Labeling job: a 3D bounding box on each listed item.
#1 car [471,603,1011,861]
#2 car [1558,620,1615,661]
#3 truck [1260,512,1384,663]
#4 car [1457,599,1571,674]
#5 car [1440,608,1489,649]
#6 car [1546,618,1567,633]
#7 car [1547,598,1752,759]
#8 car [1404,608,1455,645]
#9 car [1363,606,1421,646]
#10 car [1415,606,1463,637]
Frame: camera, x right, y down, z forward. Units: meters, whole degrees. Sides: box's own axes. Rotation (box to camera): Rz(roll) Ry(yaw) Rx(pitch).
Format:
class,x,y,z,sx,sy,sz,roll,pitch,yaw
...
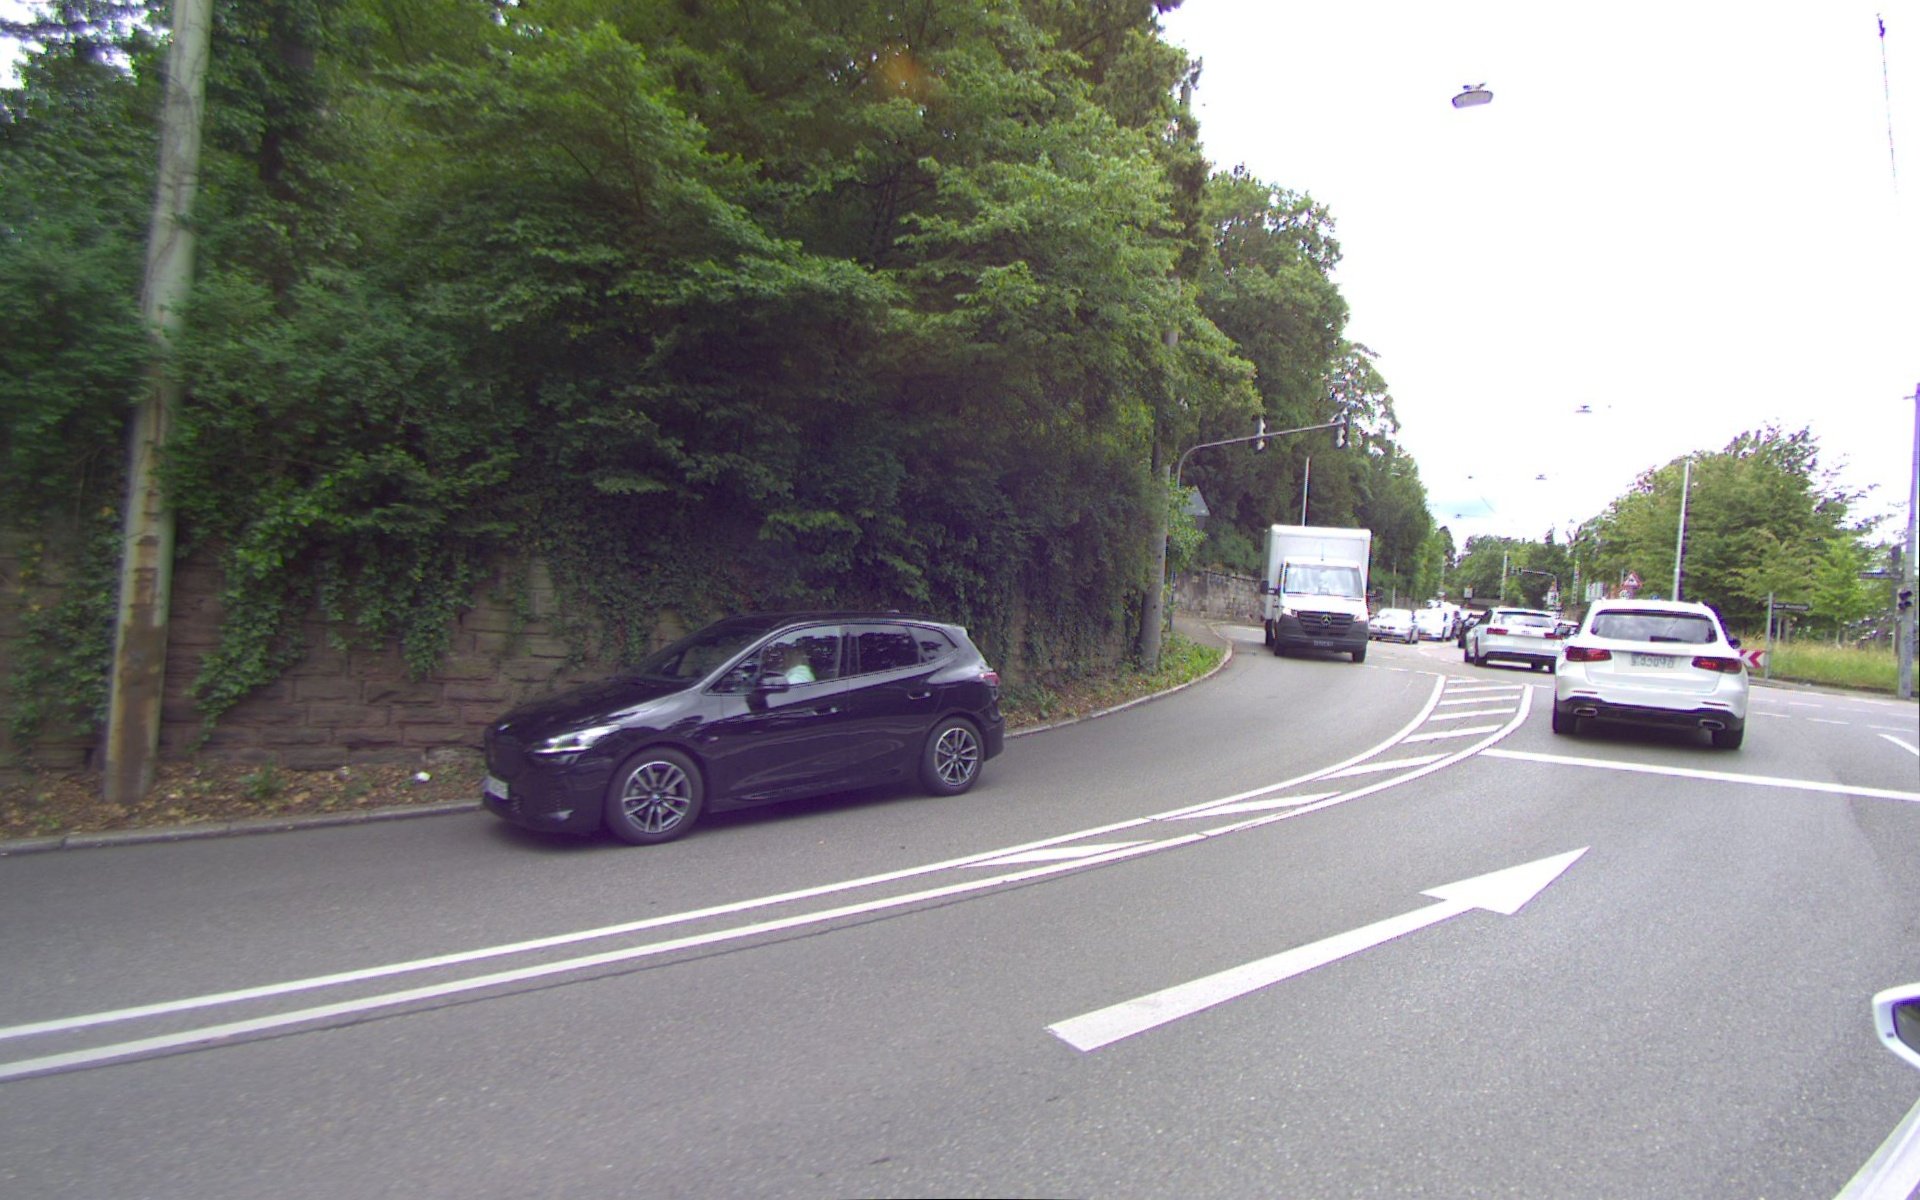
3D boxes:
class,x,y,z,sx,sy,sz,roll,pitch,yaw
car,-1.586,0.839,8.157,4.031,1.594,1.590,0,-1,-41
car,25.013,1.588,40.208,1.604,1.438,3.849,4,1,28
truck,8.699,-0.387,24.426,2.362,3.131,6.343,2,3,19
car,13.613,0.817,24.952,1.835,1.554,4.775,4,1,22
car,22.850,1.245,45.590,1.760,1.658,3.733,4,1,25
car,62.893,2.703,105.927,1.622,1.470,3.541,5,1,28
car,8.893,0.809,12.834,1.835,1.627,4.652,1,1,37
car,24.916,1.402,53.235,1.964,1.658,4.391,7,2,29
car,19.066,1.138,44.239,1.731,1.461,4.471,7,2,30
car,28.420,1.268,59.513,1.867,1.588,4.467,7,2,33
